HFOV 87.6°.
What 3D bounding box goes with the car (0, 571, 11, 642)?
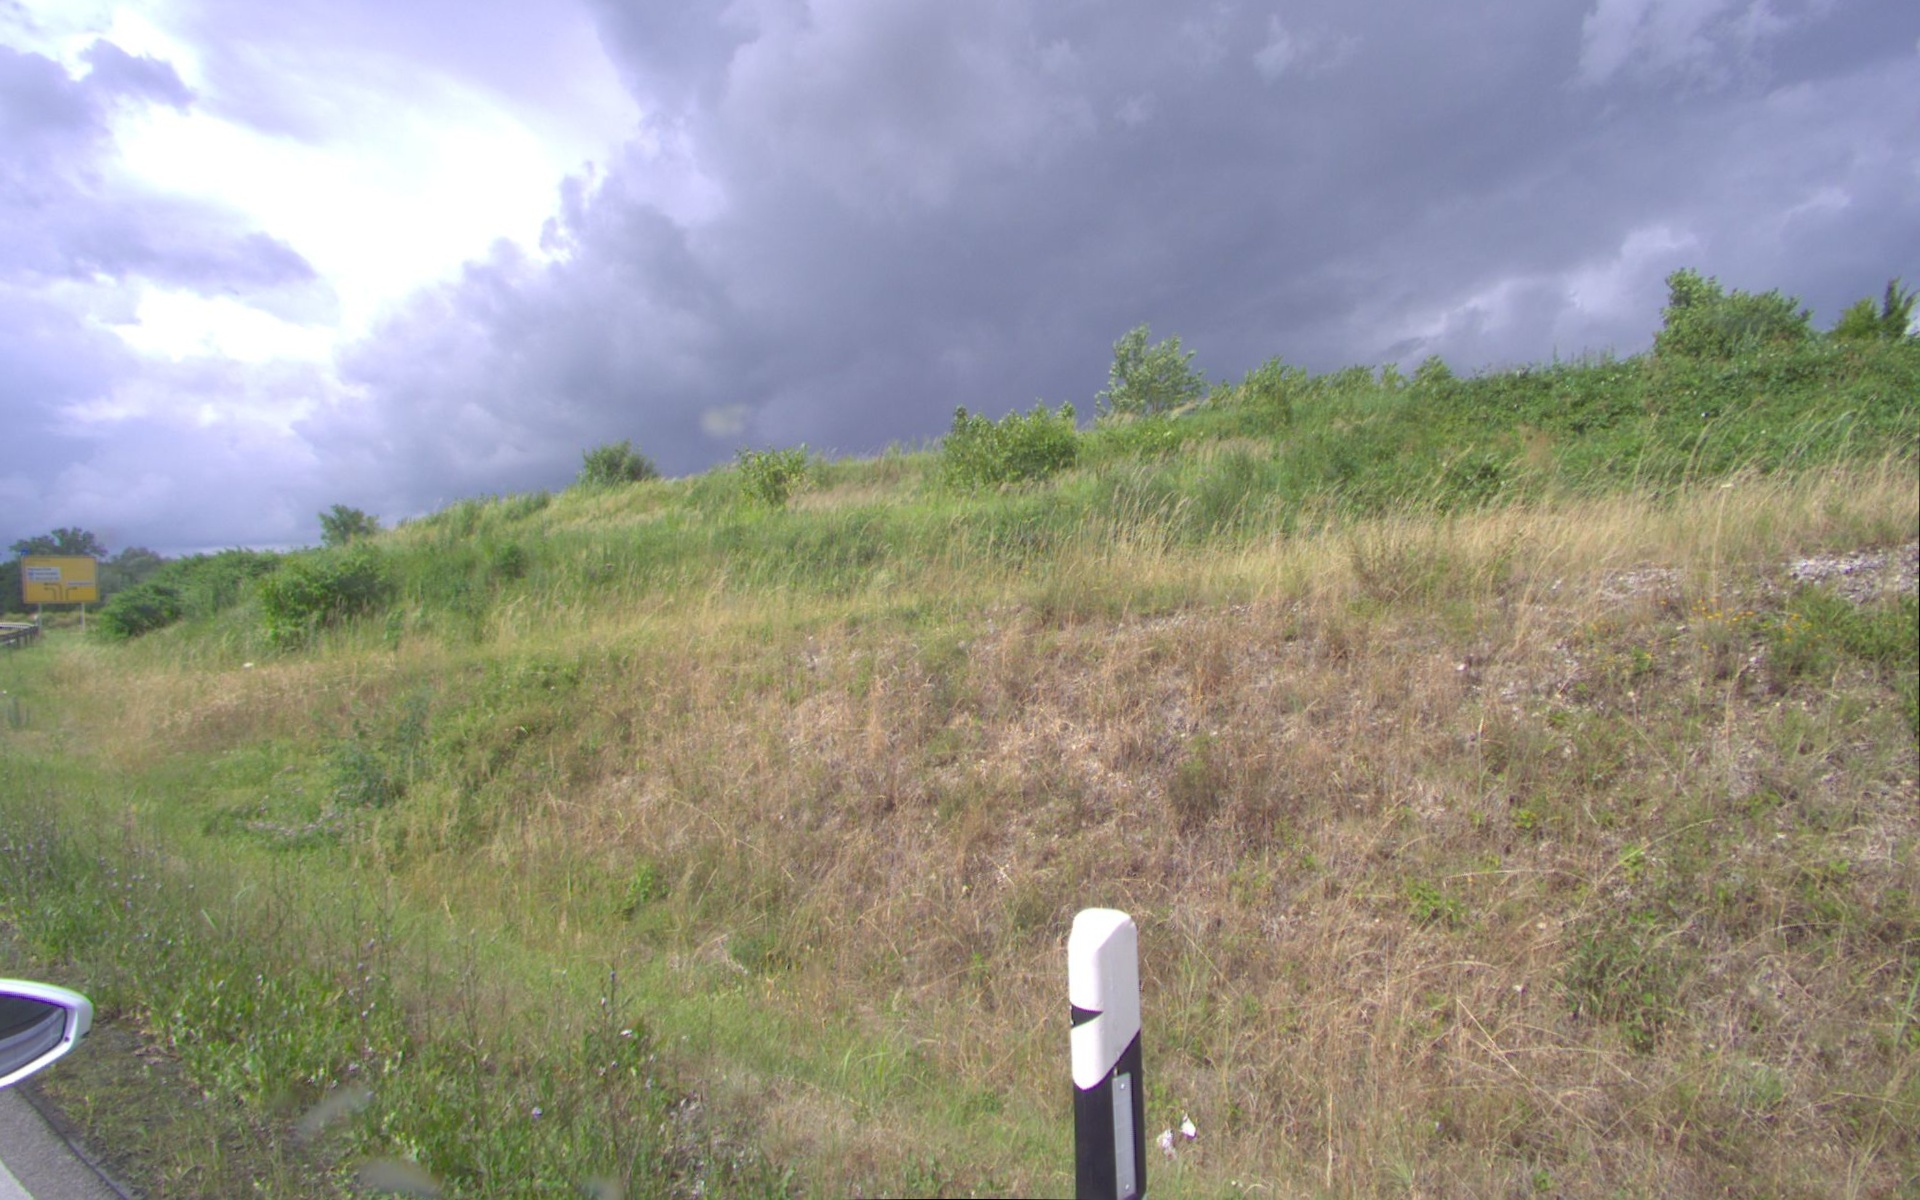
[{"bbox_3d":[-42.908,0.283,43.165,2.292,3.107,6.610,1,-2,-39],"label":"car"}]
